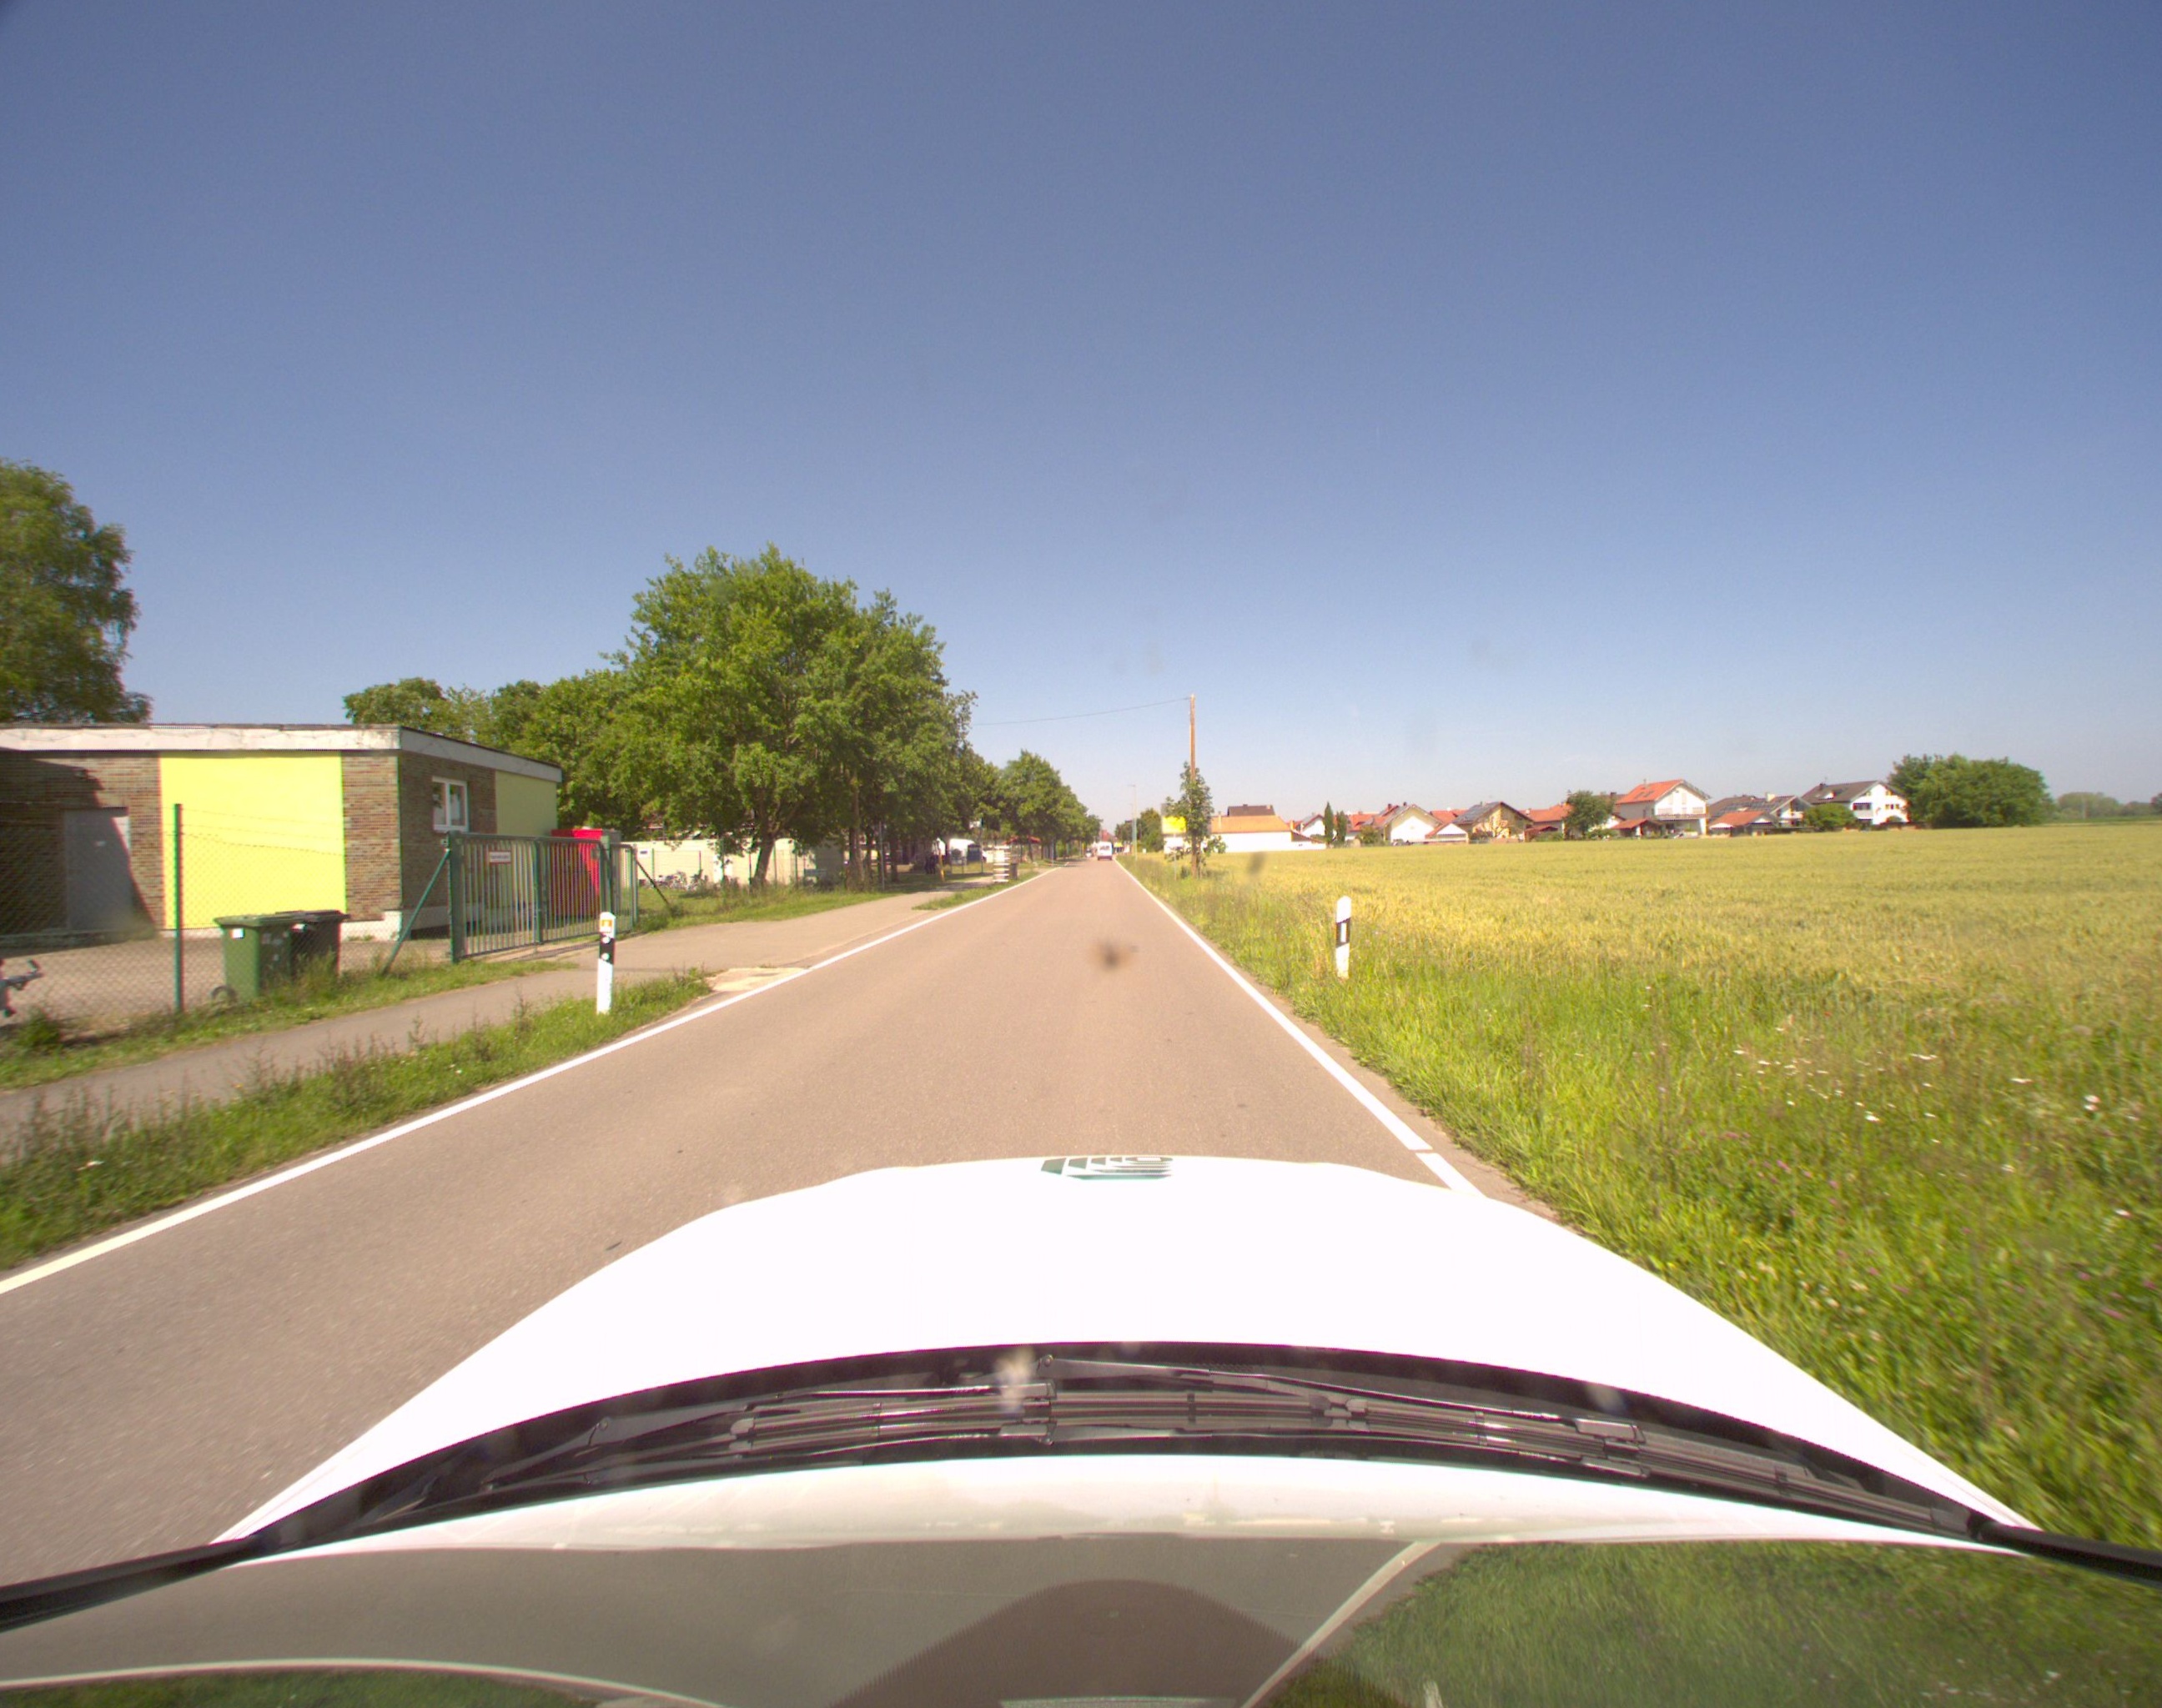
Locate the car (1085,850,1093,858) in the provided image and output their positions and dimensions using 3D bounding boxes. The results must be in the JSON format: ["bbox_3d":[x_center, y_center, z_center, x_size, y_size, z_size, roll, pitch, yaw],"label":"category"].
[{"bbox_3d":[1.671,0.014,167.982,1.641,1.423,4.082,-4,0,2],"label":"car"}]

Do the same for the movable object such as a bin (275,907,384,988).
[{"bbox_3d":[-8.800,1.085,9.557,0.635,0.854,0.655,-2,0,7],"label":"movable object such as a bin"}]

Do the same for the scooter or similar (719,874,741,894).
[{"bbox_3d":[-18.687,1.574,43.374,0.892,0.997,0.533,-2,0,-5],"label":"scooter or similar"}]

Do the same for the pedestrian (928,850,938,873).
[{"bbox_3d":[-11.614,0.610,63.911,0.603,1.751,0.585,-2,0,-8],"label":"pedestrian"}]

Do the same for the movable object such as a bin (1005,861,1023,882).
[{"bbox_3d":[-3.442,0.891,41.852,0.694,1.024,0.750,-2,0,9],"label":"movable object such as a bin"}]

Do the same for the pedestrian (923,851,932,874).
[{"bbox_3d":[-11.902,0.633,63.183,0.603,1.751,0.585,-2,0,-8],"label":"pedestrian"}]

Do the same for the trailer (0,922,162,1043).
[{"bbox_3d":[-9.508,1.124,6.060,1.628,0.866,3.352,-2,0,-5],"label":"trailer"}]

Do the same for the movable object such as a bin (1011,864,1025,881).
[{"bbox_3d":[-3.306,0.964,42.608,0.559,0.877,0.615,-2,0,9],"label":"movable object such as a bin"}]

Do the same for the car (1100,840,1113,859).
[{"bbox_3d":[3.503,-0.610,112.317,1.732,2.432,4.374,-2,0,1],"label":"car"}]

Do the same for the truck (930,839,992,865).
[{"bbox_3d":[-12.259,-0.245,83.219,5.957,2.483,1.978,-1,-1,-36],"label":"truck"}]

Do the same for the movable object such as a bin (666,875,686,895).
[{"bbox_3d":[-21.616,1.661,43.472,0.692,1.013,0.663,-2,0,-3],"label":"movable object such as a bin"}]

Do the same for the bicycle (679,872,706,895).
[{"bbox_3d":[-21.415,1.605,44.888,1.236,1.213,0.423,-2,0,-2],"label":"bicycle"}]

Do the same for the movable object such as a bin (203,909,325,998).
[{"bbox_3d":[-8.891,1.070,8.880,0.635,0.876,0.655,-2,0,7],"label":"movable object such as a bin"}]

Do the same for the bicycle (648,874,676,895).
[{"bbox_3d":[-22.992,1.699,44.717,1.236,1.082,0.506,-2,0,-1],"label":"bicycle"}]
